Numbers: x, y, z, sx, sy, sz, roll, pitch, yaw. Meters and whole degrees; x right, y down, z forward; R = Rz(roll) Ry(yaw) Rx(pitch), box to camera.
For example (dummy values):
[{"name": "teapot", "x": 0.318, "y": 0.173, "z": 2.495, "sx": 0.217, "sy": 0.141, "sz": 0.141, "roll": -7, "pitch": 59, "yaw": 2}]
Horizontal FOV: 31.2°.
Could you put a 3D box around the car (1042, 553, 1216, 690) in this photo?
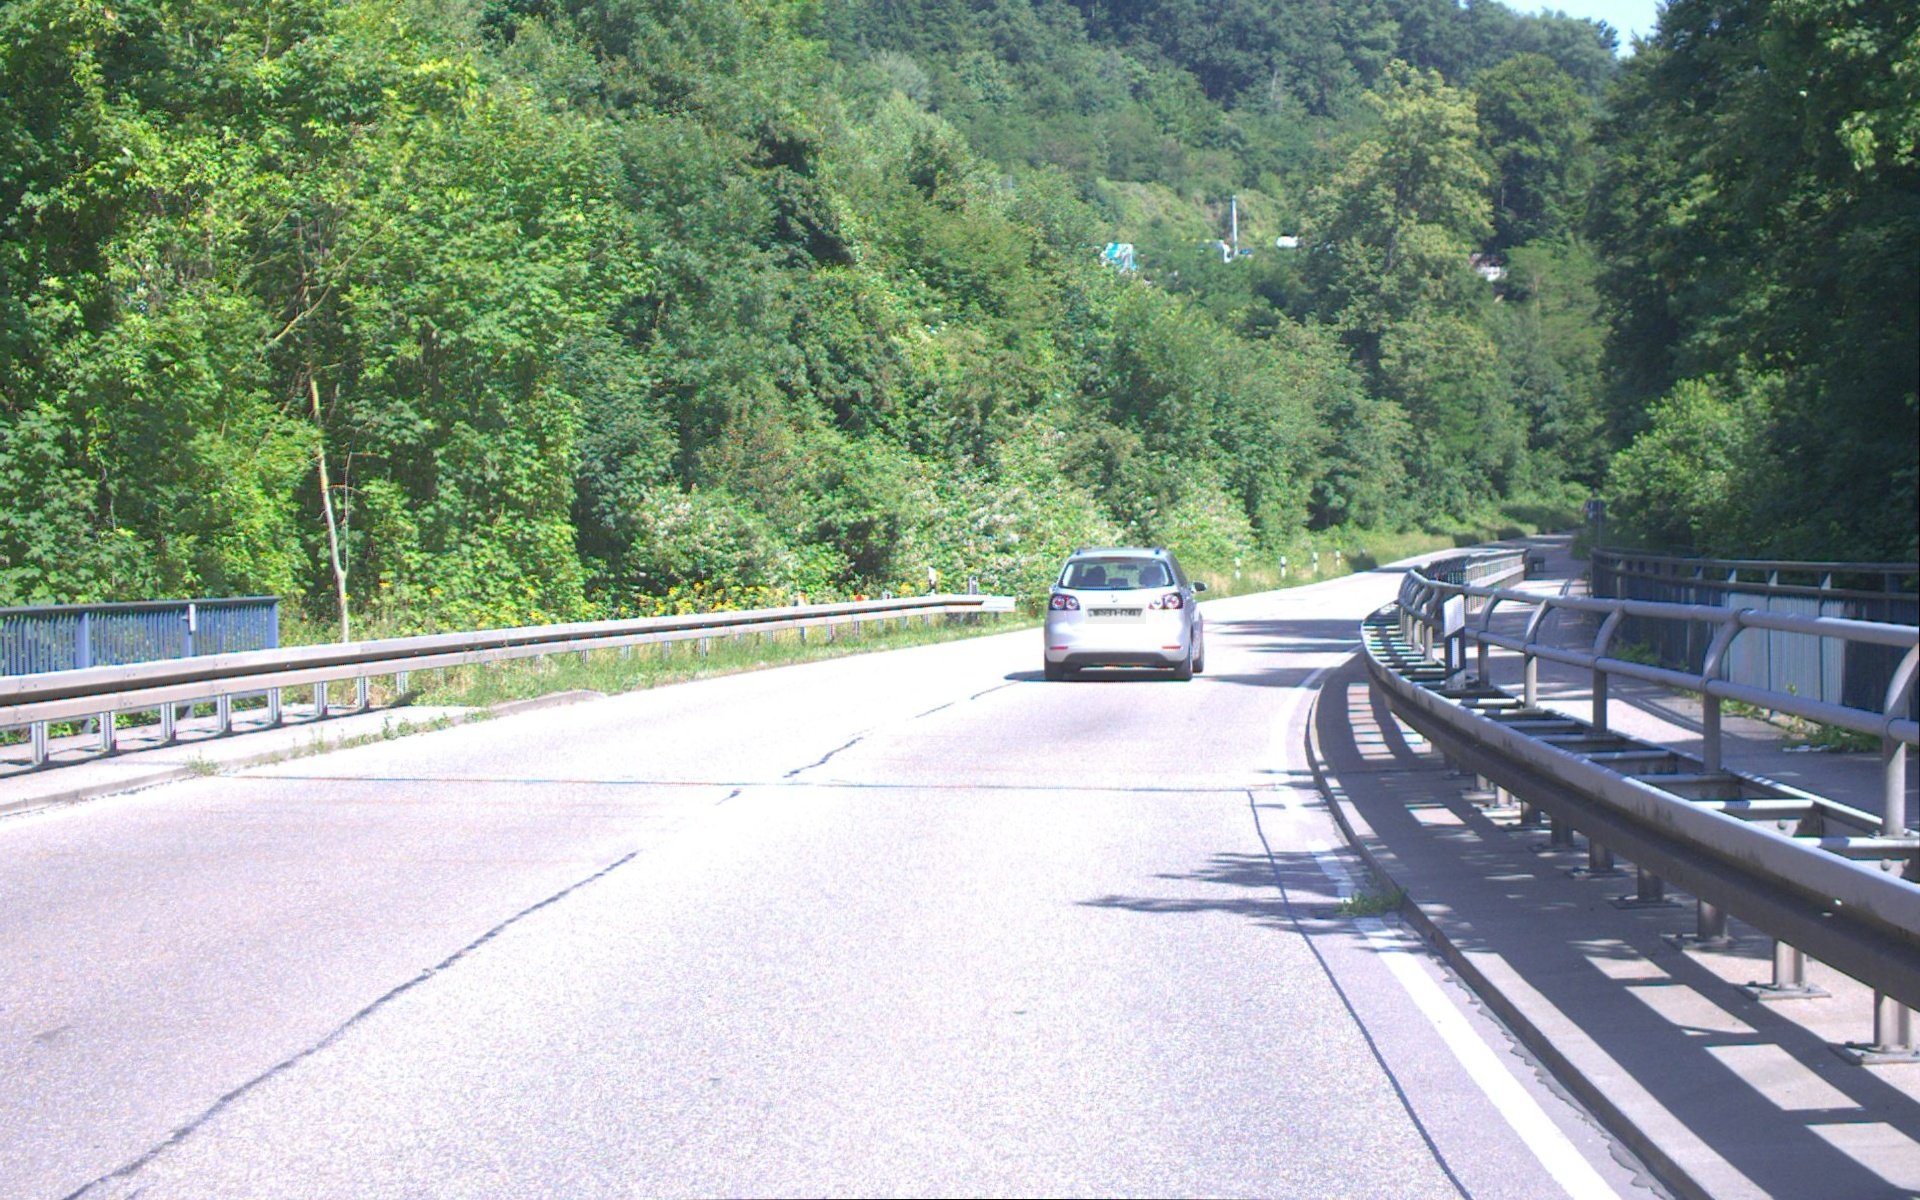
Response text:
[{"name": "car", "x": 2.086, "y": 0.217, "z": 41.460, "sx": 1.752, "sy": 1.514, "sz": 4.158, "roll": 0, "pitch": 1, "yaw": 8}]
